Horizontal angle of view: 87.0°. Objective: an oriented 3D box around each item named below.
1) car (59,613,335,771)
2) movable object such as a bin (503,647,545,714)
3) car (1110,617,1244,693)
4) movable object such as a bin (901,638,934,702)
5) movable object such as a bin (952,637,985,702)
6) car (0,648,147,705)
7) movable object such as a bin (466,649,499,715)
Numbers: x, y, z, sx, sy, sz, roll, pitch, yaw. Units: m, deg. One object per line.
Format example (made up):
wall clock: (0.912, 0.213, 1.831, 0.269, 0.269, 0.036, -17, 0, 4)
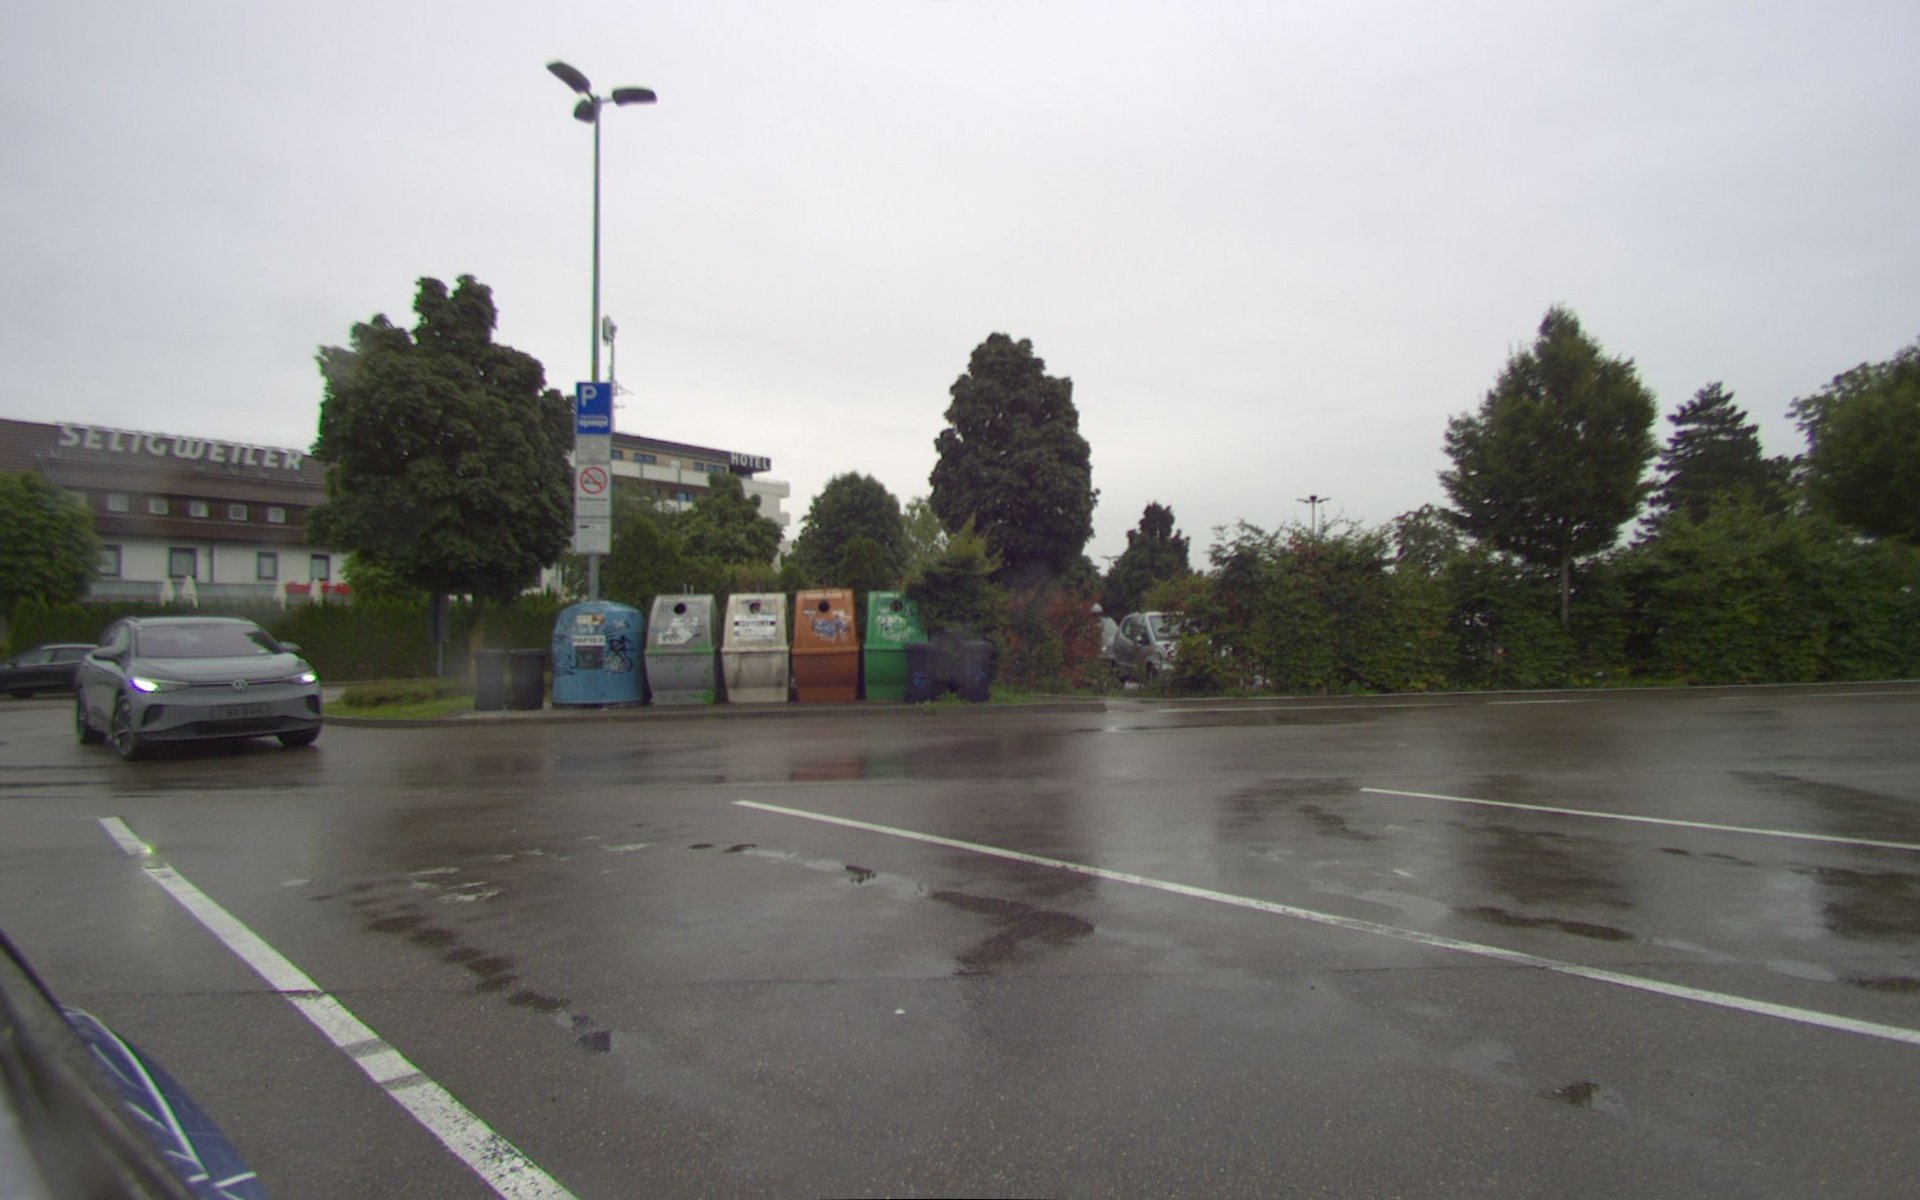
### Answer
car: (-9.569, 1.005, 12.545, 4.499, 1.586, 1.972, -2, -2, 43)
movable object such as a bin: (-6.548, 1.200, 15.202, 0.450, 0.956, 0.400, -2, -1, 41)
car: (4.087, 1.005, 19.665, 1.782, 1.278, 3.647, -1, -1, 0)
movable object such as a bin: (-0.633, 1.032, 15.019, 0.432, 0.930, 0.508, -2, -2, 1)
movable object such as a bin: (0.118, 1.003, 14.752, 0.432, 0.923, 0.509, -2, -2, -1)
car: (-25.642, 2.122, 28.234, 4.259, 1.460, 1.873, -1, -3, -10)
movable object such as a bin: (-7.192, 1.223, 15.261, 0.427, 0.956, 0.474, -1, -1, -25)
